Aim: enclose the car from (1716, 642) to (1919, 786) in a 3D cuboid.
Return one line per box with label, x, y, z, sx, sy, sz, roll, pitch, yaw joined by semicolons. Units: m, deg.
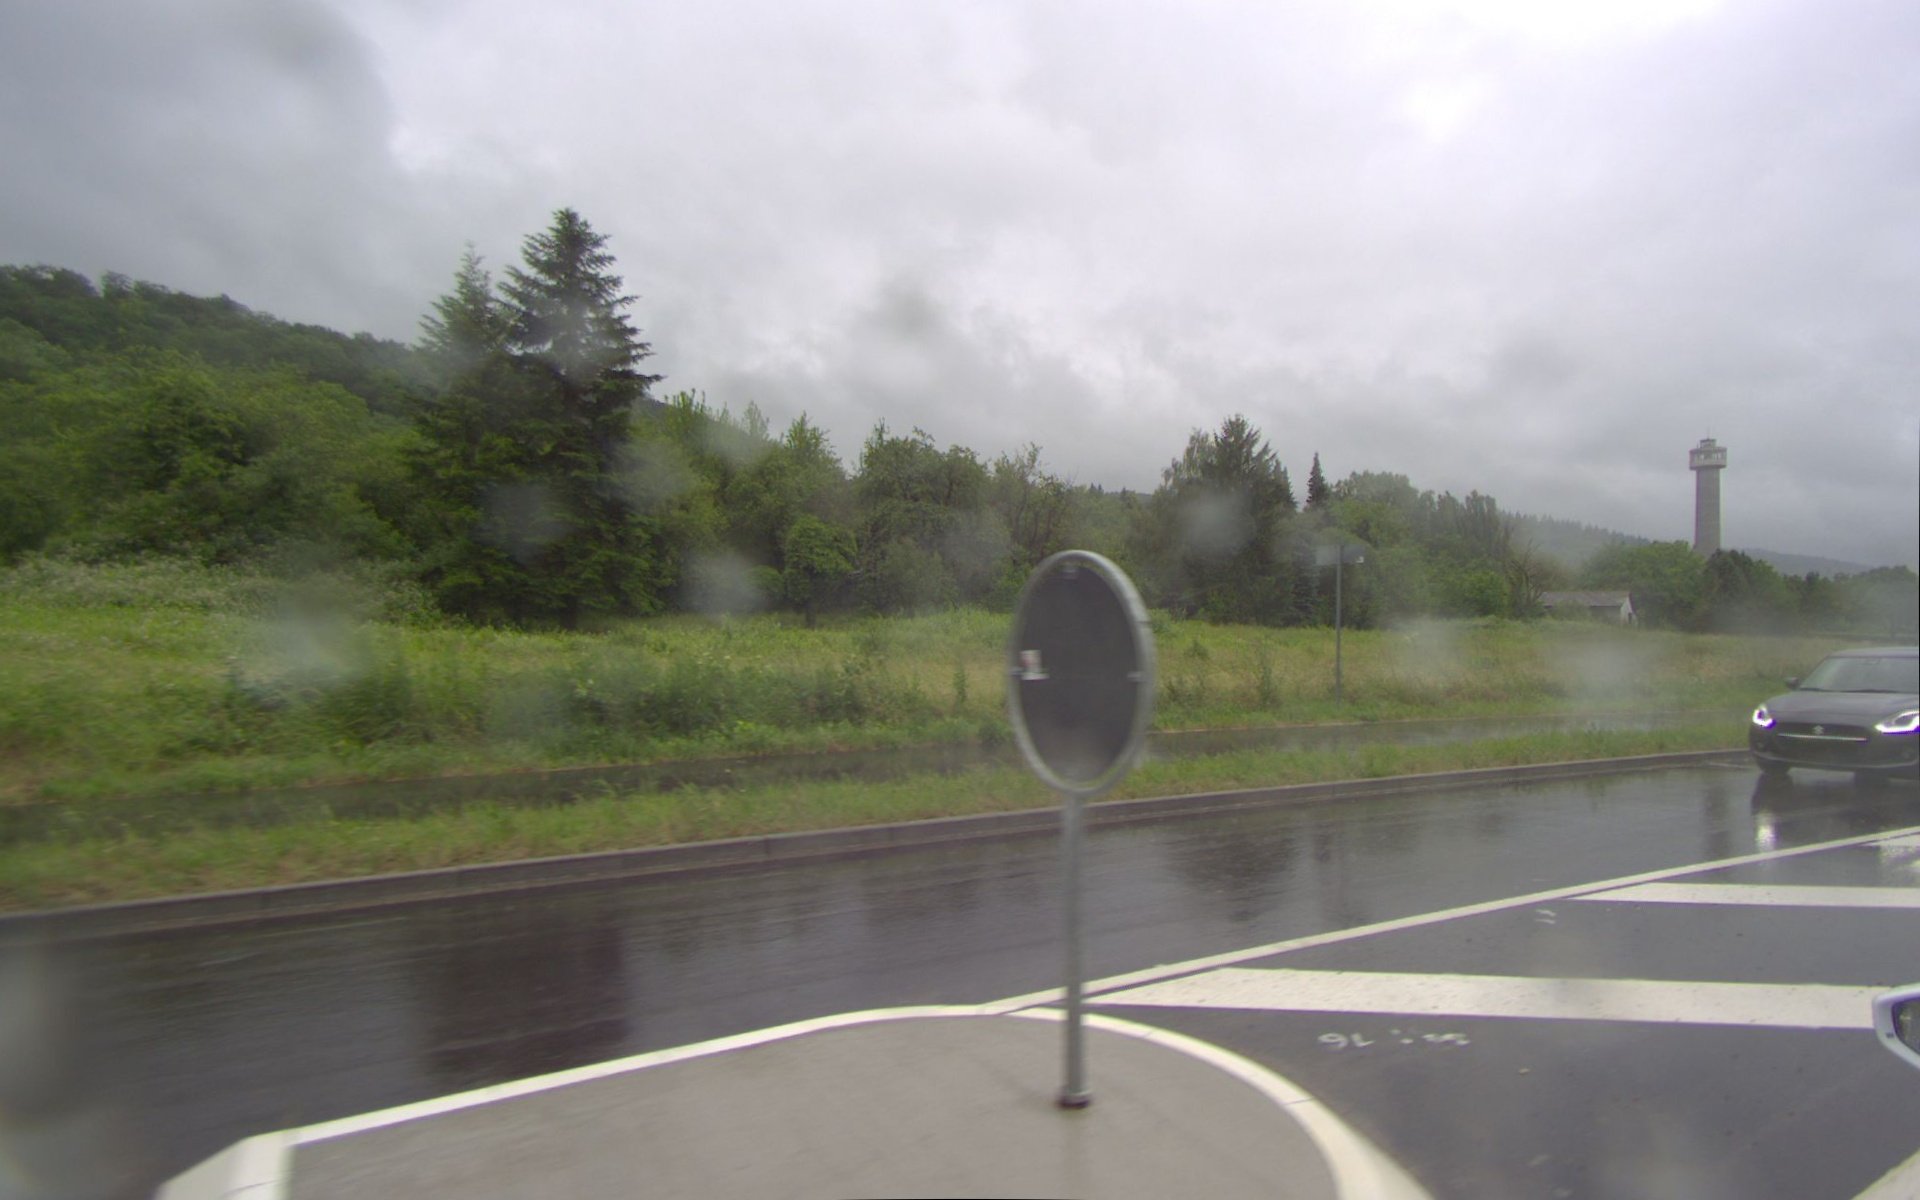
car;10.677;1.218;11.616;3.721;1.420;1.690;1;-4;-29
